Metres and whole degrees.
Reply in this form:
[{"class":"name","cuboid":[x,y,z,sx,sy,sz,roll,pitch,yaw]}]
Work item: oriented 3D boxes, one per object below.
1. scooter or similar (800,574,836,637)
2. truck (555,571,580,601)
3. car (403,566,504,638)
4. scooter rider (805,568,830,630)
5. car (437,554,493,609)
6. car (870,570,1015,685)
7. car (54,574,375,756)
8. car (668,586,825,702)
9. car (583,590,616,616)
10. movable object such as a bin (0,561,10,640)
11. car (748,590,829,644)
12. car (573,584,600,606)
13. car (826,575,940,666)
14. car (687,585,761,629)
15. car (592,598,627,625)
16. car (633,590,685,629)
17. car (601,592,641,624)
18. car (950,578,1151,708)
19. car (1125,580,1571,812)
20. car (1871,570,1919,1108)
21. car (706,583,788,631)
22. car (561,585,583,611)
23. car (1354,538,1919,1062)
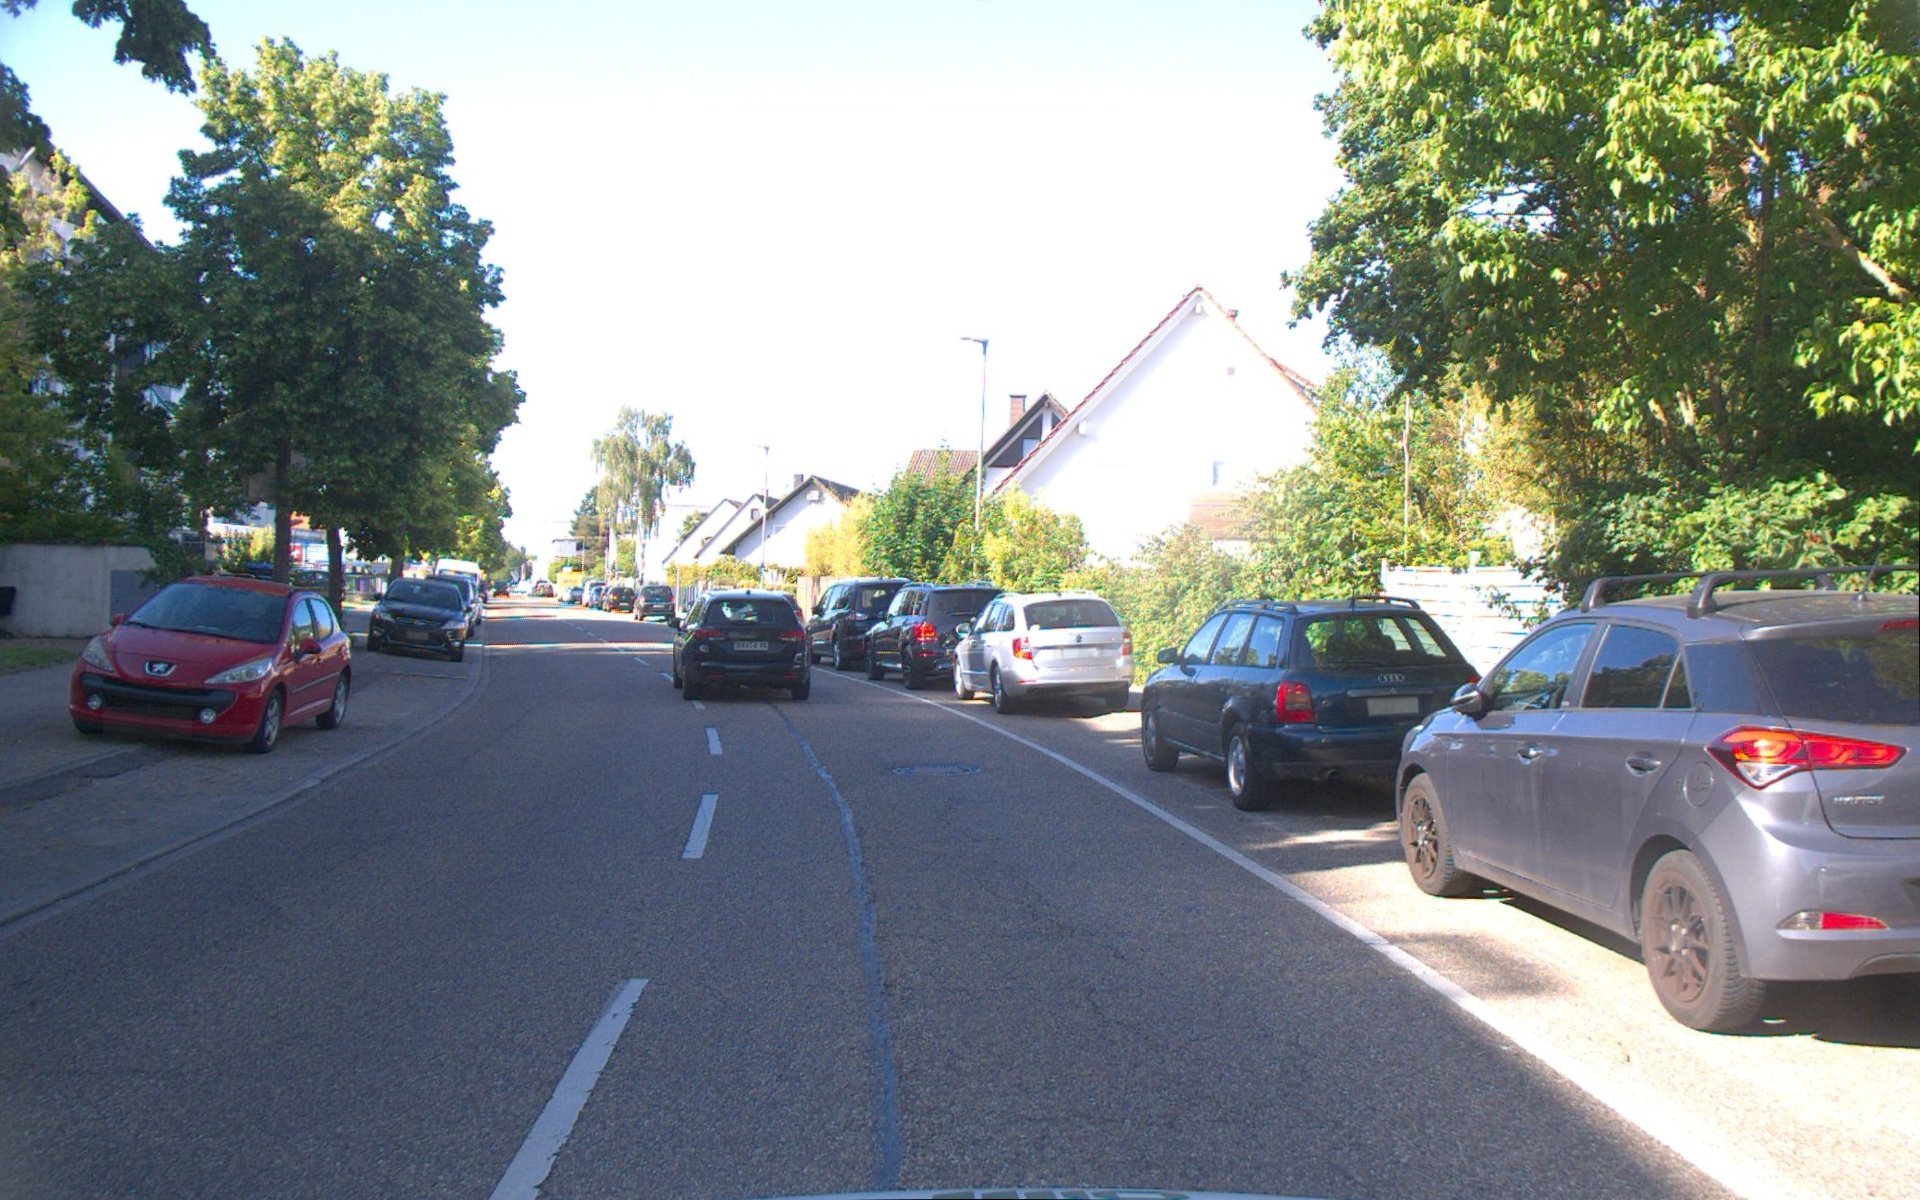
[{"class":"scooter or similar","cuboid":[-4.793,0.214,55.693,0.674,2.049,2.950,1,-2,-14]},{"class":"truck","cuboid":[-37.677,-1.322,158.677,2.169,2.645,5.121,1,-2,-16]},{"class":"car","cuboid":[-14.095,0.053,46.256,1.801,1.657,4.284,8,-1,-7]},{"class":"scooter rider","cuboid":[-4.823,-0.025,55.773,0.674,2.049,0.816,1,-2,-16]},{"class":"car","cuboid":[-22.899,-0.849,76.619,1.873,2.206,4.278,8,-1,-12]},{"class":"car","cuboid":[-0.376,0.444,27.575,1.967,1.754,4.287,1,0,-7]},{"class":"car","cuboid":[-7.173,0.564,16.397,1.656,1.517,4.284,2,0,-7]},{"class":"car","cuboid":[-3.173,0.563,23.923,1.732,1.517,4.274,0,0,-15]},{"class":"car","cuboid":[-25.183,0.210,115.346,1.973,1.754,4.275,1,0,-16]},{"class":"movable object such as a bin","cuboid":[-18.346,-0.016,30.068,1.488,1.452,1.086,1,-2,-7]},{"class":"car","cuboid":[-4.841,0.464,46.246,1.882,1.432,4.282,1,0,-11]},{"class":"car","cuboid":[-31.007,-0.391,137.215,1.973,1.754,4.275,1,0,-16]},{"class":"car","cuboid":[-1.616,0.399,33.160,1.867,1.695,4.183,1,0,-9]},{"class":"car","cuboid":[-8.147,0.248,56.846,1.886,1.432,4.273,1,0,-17]},{"class":"car","cuboid":[-23.326,0.761,110.059,1.973,1.754,4.275,1,0,-16]},{"class":"car","cuboid":[-14.127,0.451,77.399,1.973,1.754,4.275,1,0,-16]},{"class":"car","cuboid":[-19.750,0.466,96.221,1.973,1.754,4.275,1,0,-16]},{"class":"car","cuboid":[1.100,0.537,22.177,1.787,1.561,4.249,1,0,-10]},{"class":"car","cuboid":[2.780,0.642,12.969,1.968,1.501,4.285,1,0,-9]},{"class":"car","cuboid":[3.653,0.665,2.774,1.725,1.506,4.291,1,0,-3]},{"class":"car","cuboid":[-6.803,0.234,52.487,1.886,1.432,4.273,1,0,-17]},{"class":"car","cuboid":[-33.372,-0.162,142.326,1.720,2.049,3.935,1,-2,-15]},{"class":"car","cuboid":[3.342,0.616,7.356,1.874,1.628,4.290,1,0,-4]}]
